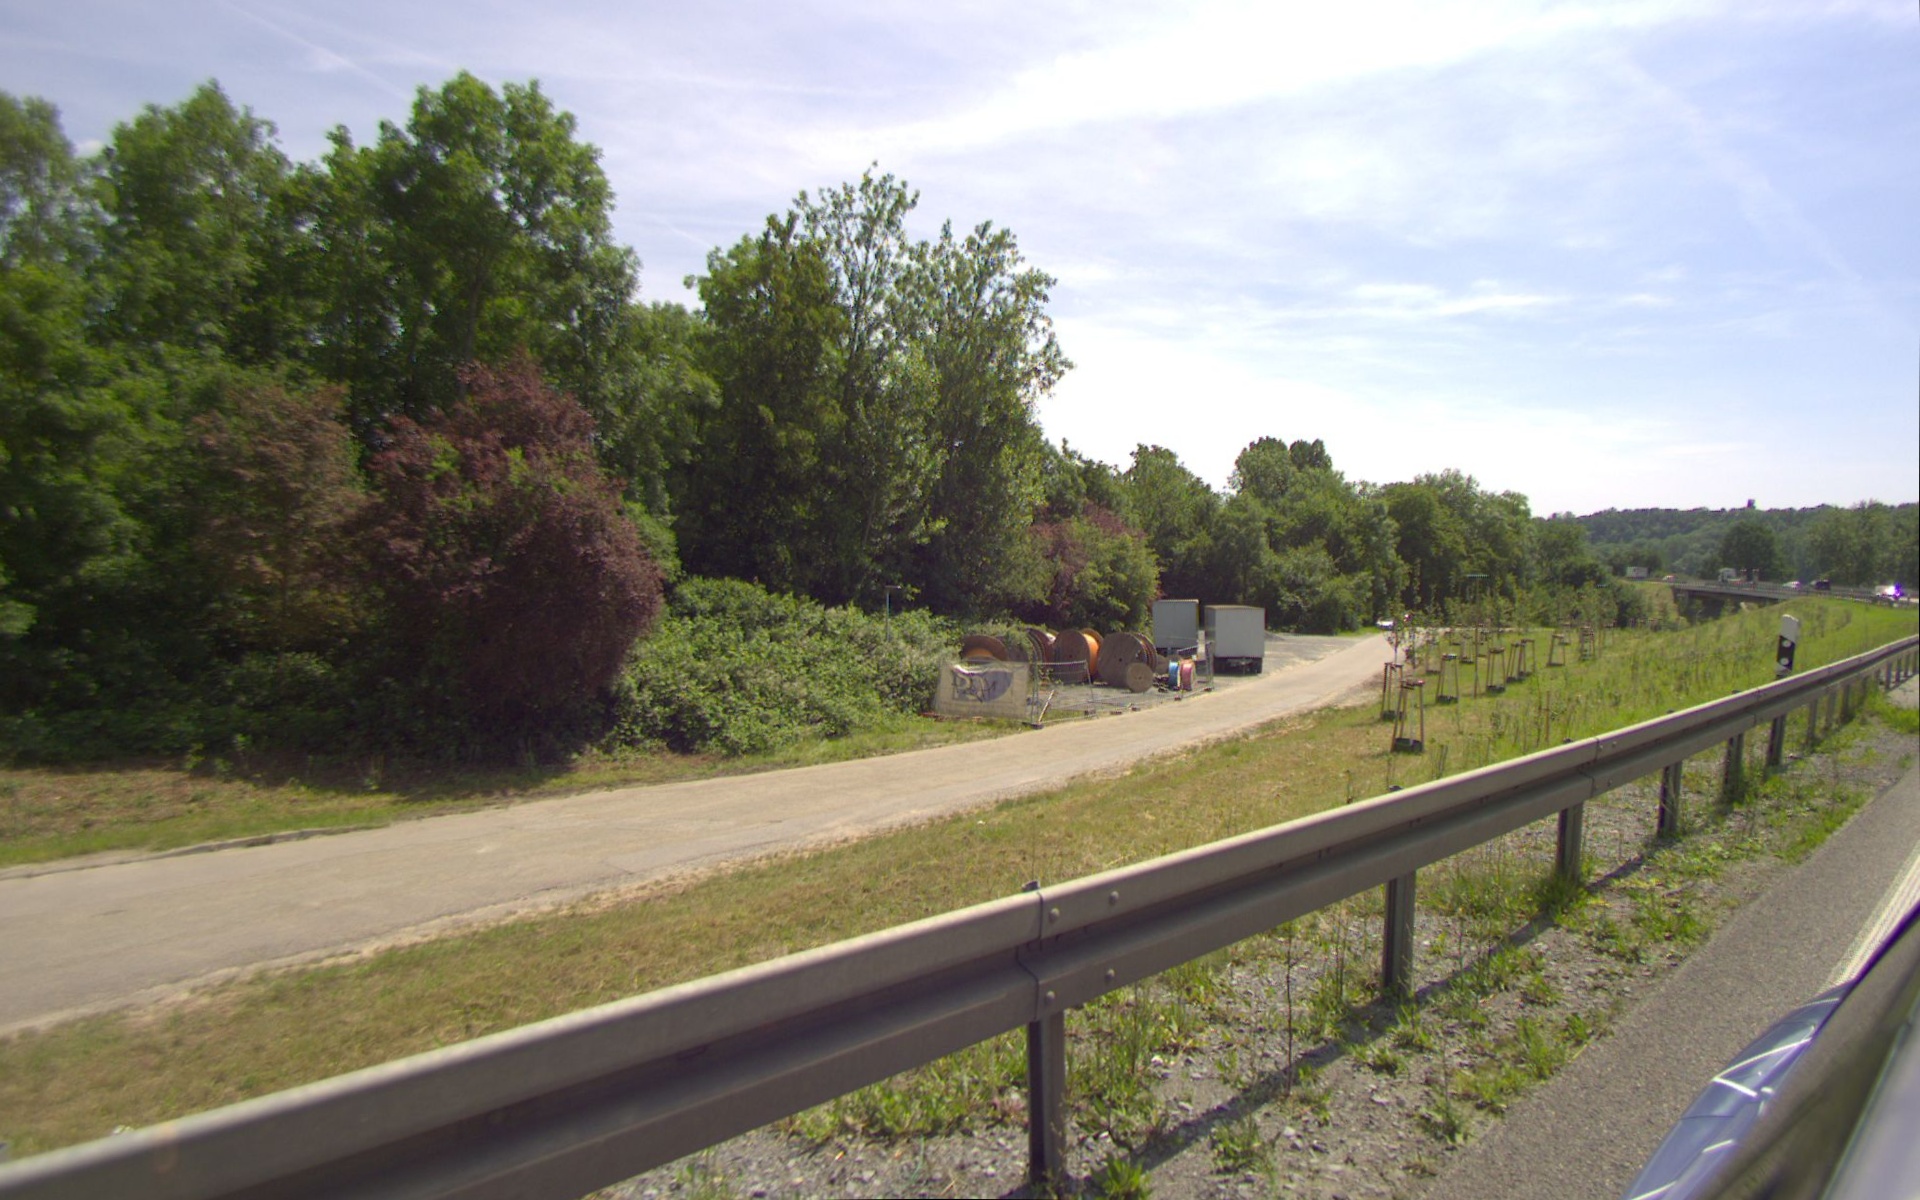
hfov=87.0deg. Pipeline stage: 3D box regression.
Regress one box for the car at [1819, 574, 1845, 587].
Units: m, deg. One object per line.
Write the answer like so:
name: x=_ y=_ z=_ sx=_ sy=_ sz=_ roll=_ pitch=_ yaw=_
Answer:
car: x=131.825 y=-2.989 z=153.080 sx=1.910 sy=1.883 sz=5.125 roll=1 pitch=1 yaw=28

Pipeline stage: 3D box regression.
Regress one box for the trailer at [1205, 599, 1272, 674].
trailer: x=14.939 y=1.762 z=55.031 sx=2.685 sy=3.369 sz=11.855 roll=0 pitch=1 yaw=11

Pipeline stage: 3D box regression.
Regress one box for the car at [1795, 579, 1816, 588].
car: x=140.706 y=-2.766 z=168.504 sx=1.756 sy=1.512 sz=4.133 roll=0 pitch=2 yaw=26

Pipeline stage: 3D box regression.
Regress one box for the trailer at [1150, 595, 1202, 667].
trailer: x=12.813 y=1.597 z=59.339 sx=2.687 sy=3.651 sz=11.846 roll=0 pitch=1 yaw=13

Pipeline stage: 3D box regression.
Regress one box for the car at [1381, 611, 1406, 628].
car: x=46.022 y=2.033 z=107.384 sx=1.849 sy=1.500 sz=4.558 roll=5 pitch=3 yaw=31

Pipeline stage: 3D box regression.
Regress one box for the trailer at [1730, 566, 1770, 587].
trailer: x=155.337 y=-4.681 z=199.157 sx=3.098 sy=4.029 sz=15.219 roll=1 pitch=2 yaw=26

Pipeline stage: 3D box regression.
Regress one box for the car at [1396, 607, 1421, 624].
car: x=51.827 y=1.806 z=116.926 sx=1.851 sy=1.702 sz=4.149 roll=5 pitch=3 yaw=33

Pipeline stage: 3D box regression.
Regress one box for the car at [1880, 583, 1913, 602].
car: x=94.614 y=-0.808 z=102.312 sx=1.970 sy=1.753 sz=3.950 roll=1 pitch=3 yaw=36
